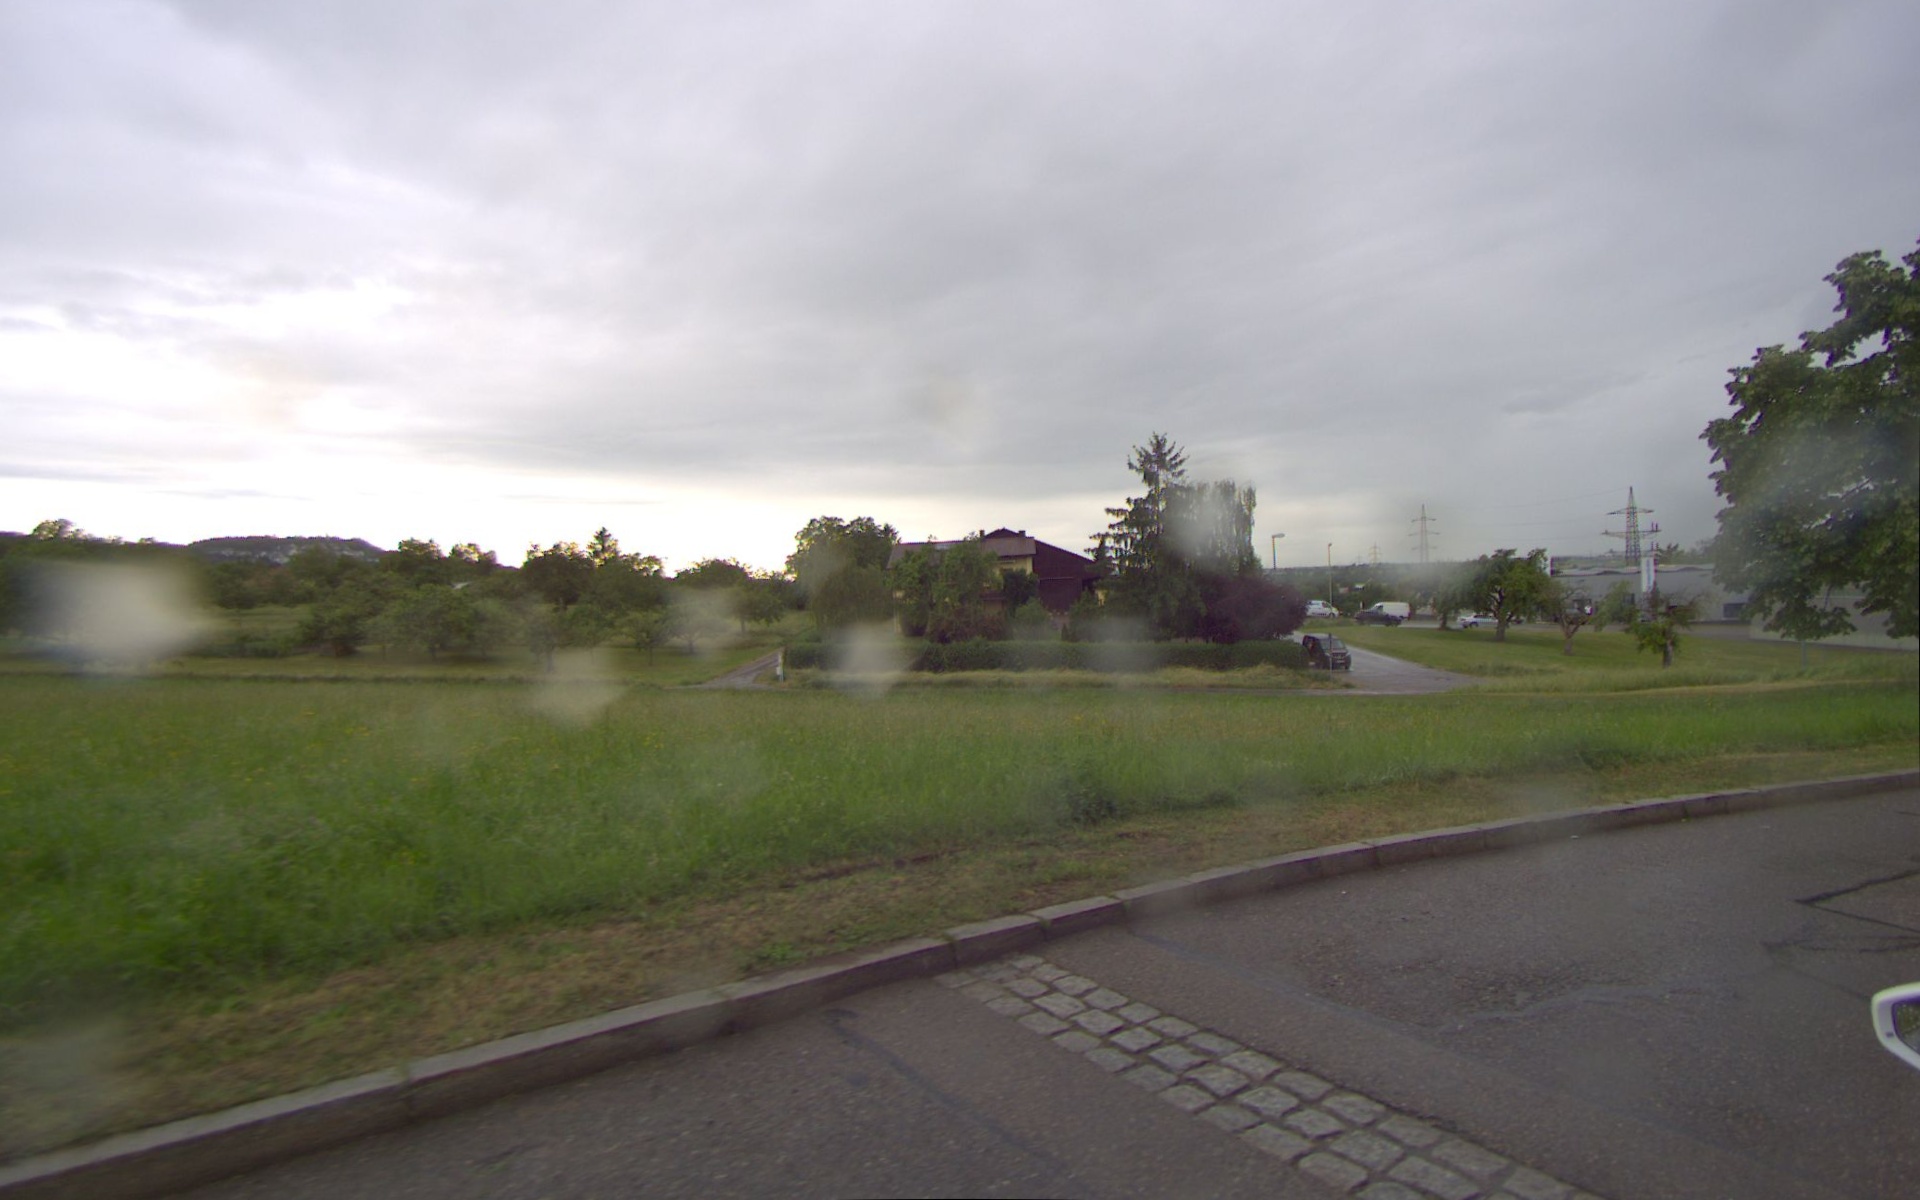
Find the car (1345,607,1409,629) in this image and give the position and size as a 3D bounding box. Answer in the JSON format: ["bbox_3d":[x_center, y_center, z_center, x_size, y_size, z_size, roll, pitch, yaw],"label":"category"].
[{"bbox_3d":[40.798,1.776,98.303,5.313,2.000,2.292,1,-2,4],"label":"car"}]

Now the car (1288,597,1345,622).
[{"bbox_3d":[39.995,1.049,112.755,5.699,2.738,1.999,1,1,-3],"label":"car"}]

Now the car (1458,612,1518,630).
[{"bbox_3d":[50.857,2.040,96.880,4.526,1.670,2.292,-1,-3,4],"label":"car"}]

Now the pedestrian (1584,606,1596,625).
[{"bbox_3d":[67.542,1.643,107.674,0.834,2.040,0.647,0,0,8],"label":"pedestrian"}]

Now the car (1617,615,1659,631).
[{"bbox_3d":[71.238,2.424,105.592,1.960,1.639,4.002,0,-1,5],"label":"car"}]

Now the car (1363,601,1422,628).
[{"bbox_3d":[57.207,1.898,132.896,6.595,3.469,2.546,-1,-2,4],"label":"car"}]

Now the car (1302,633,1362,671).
[{"bbox_3d":[23.052,3.216,62.432,1.892,2.249,4.503,0,-3,-2],"label":"car"}]
